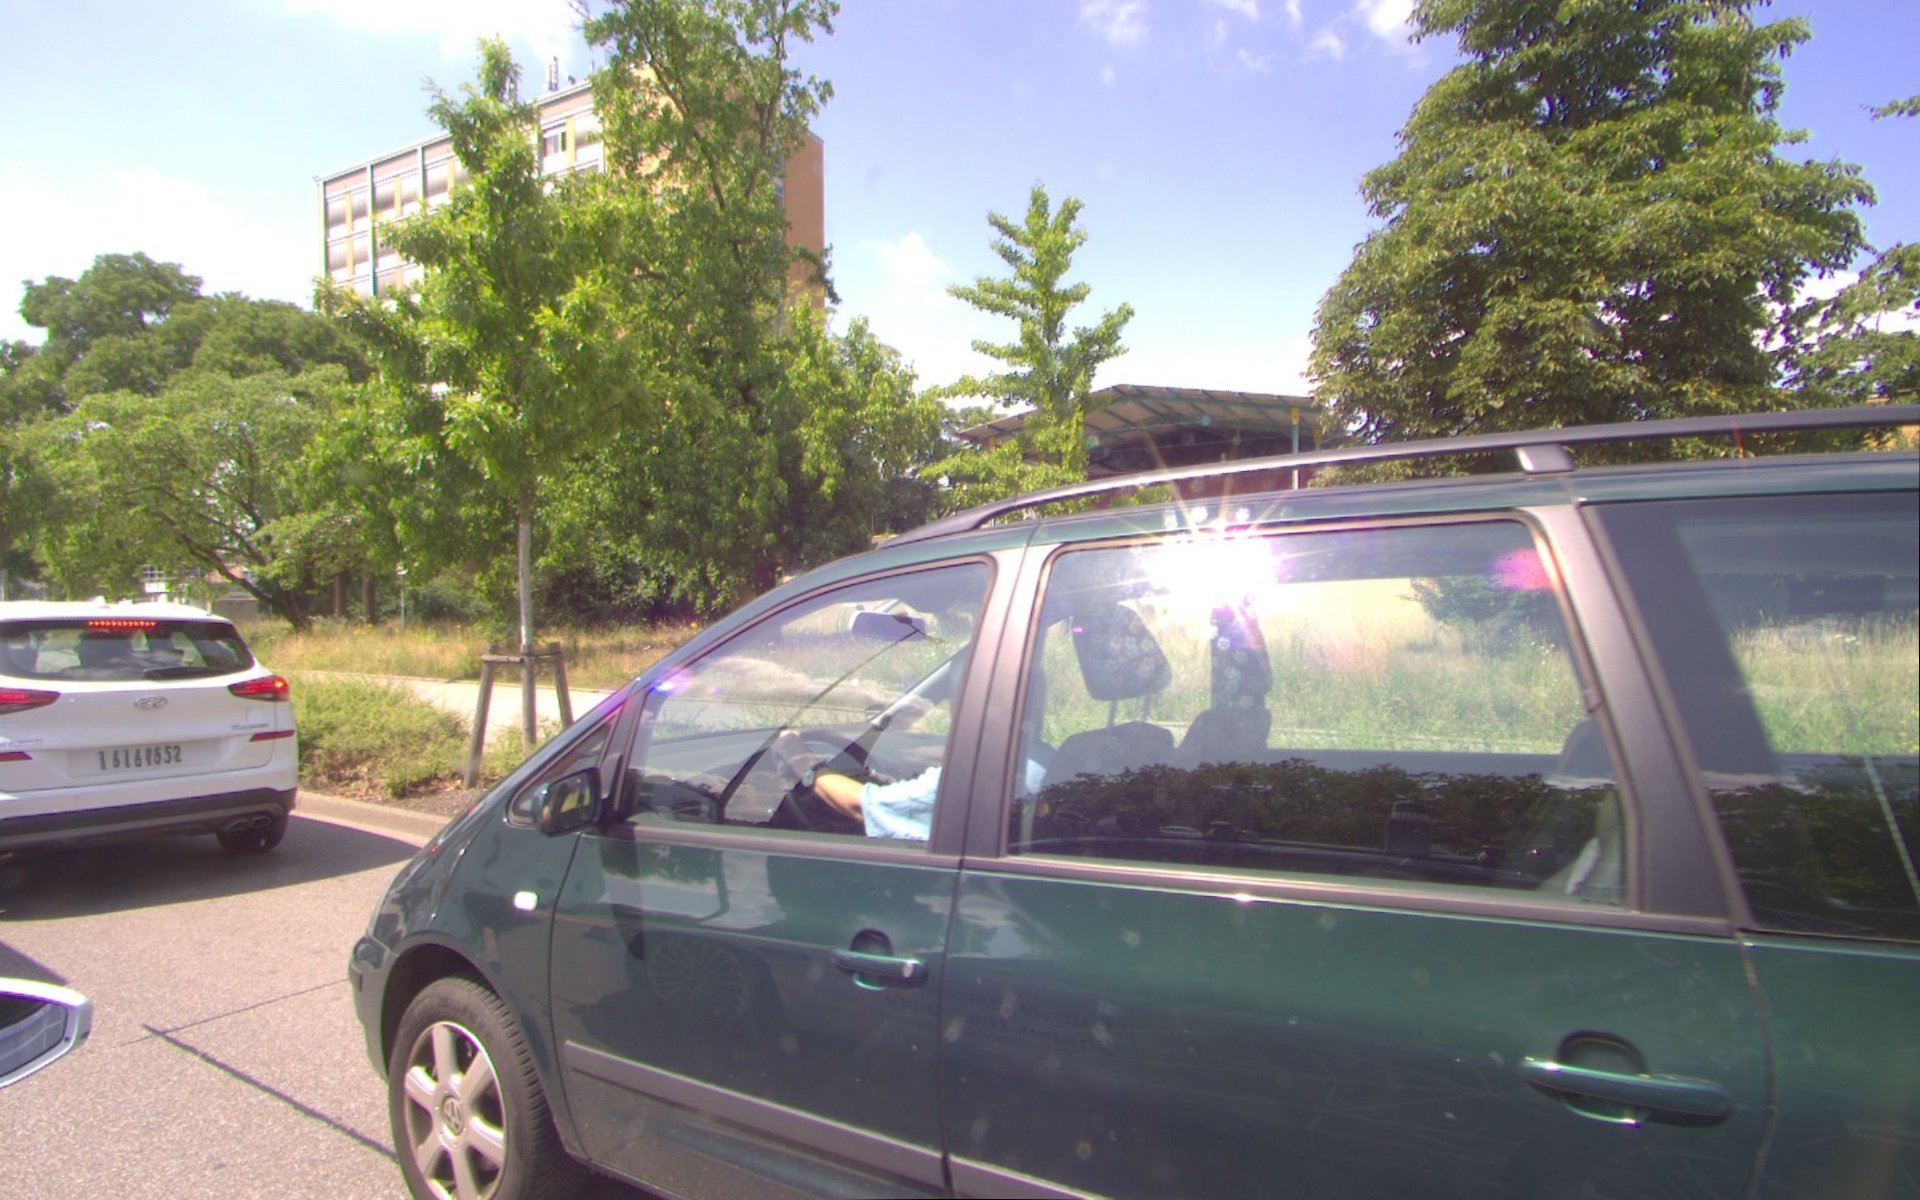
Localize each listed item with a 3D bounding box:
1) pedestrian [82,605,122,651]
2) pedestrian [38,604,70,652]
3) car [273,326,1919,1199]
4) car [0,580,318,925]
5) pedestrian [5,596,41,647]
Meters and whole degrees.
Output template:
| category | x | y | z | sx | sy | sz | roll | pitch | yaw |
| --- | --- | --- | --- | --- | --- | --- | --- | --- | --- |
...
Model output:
| category | x | y | z | sx | sy | sz | roll | pitch | yaw |
| --- | --- | --- | --- | --- | --- | --- | --- | --- | --- |
| pedestrian | -29.776 | 0.969 | 34.757 | 0.823 | 1.559 | 0.843 | 0 | 0 | 32 |
| pedestrian | -38.978 | 1.206 | 43.086 | 0.730 | 2.040 | 0.843 | 0 | 0 | 32 |
| car | 0.388 | 0.636 | 2.403 | 4.325 | 1.757 | 1.809 | 0 | -1 | 32 |
| car | -6.066 | 0.771 | 6.523 | 3.945 | 1.710 | 1.793 | 0 | 0 | 34 |
| pedestrian | -38.837 | 0.890 | 41.504 | 0.728 | 2.085 | 0.846 | 0 | 0 | 20 |
